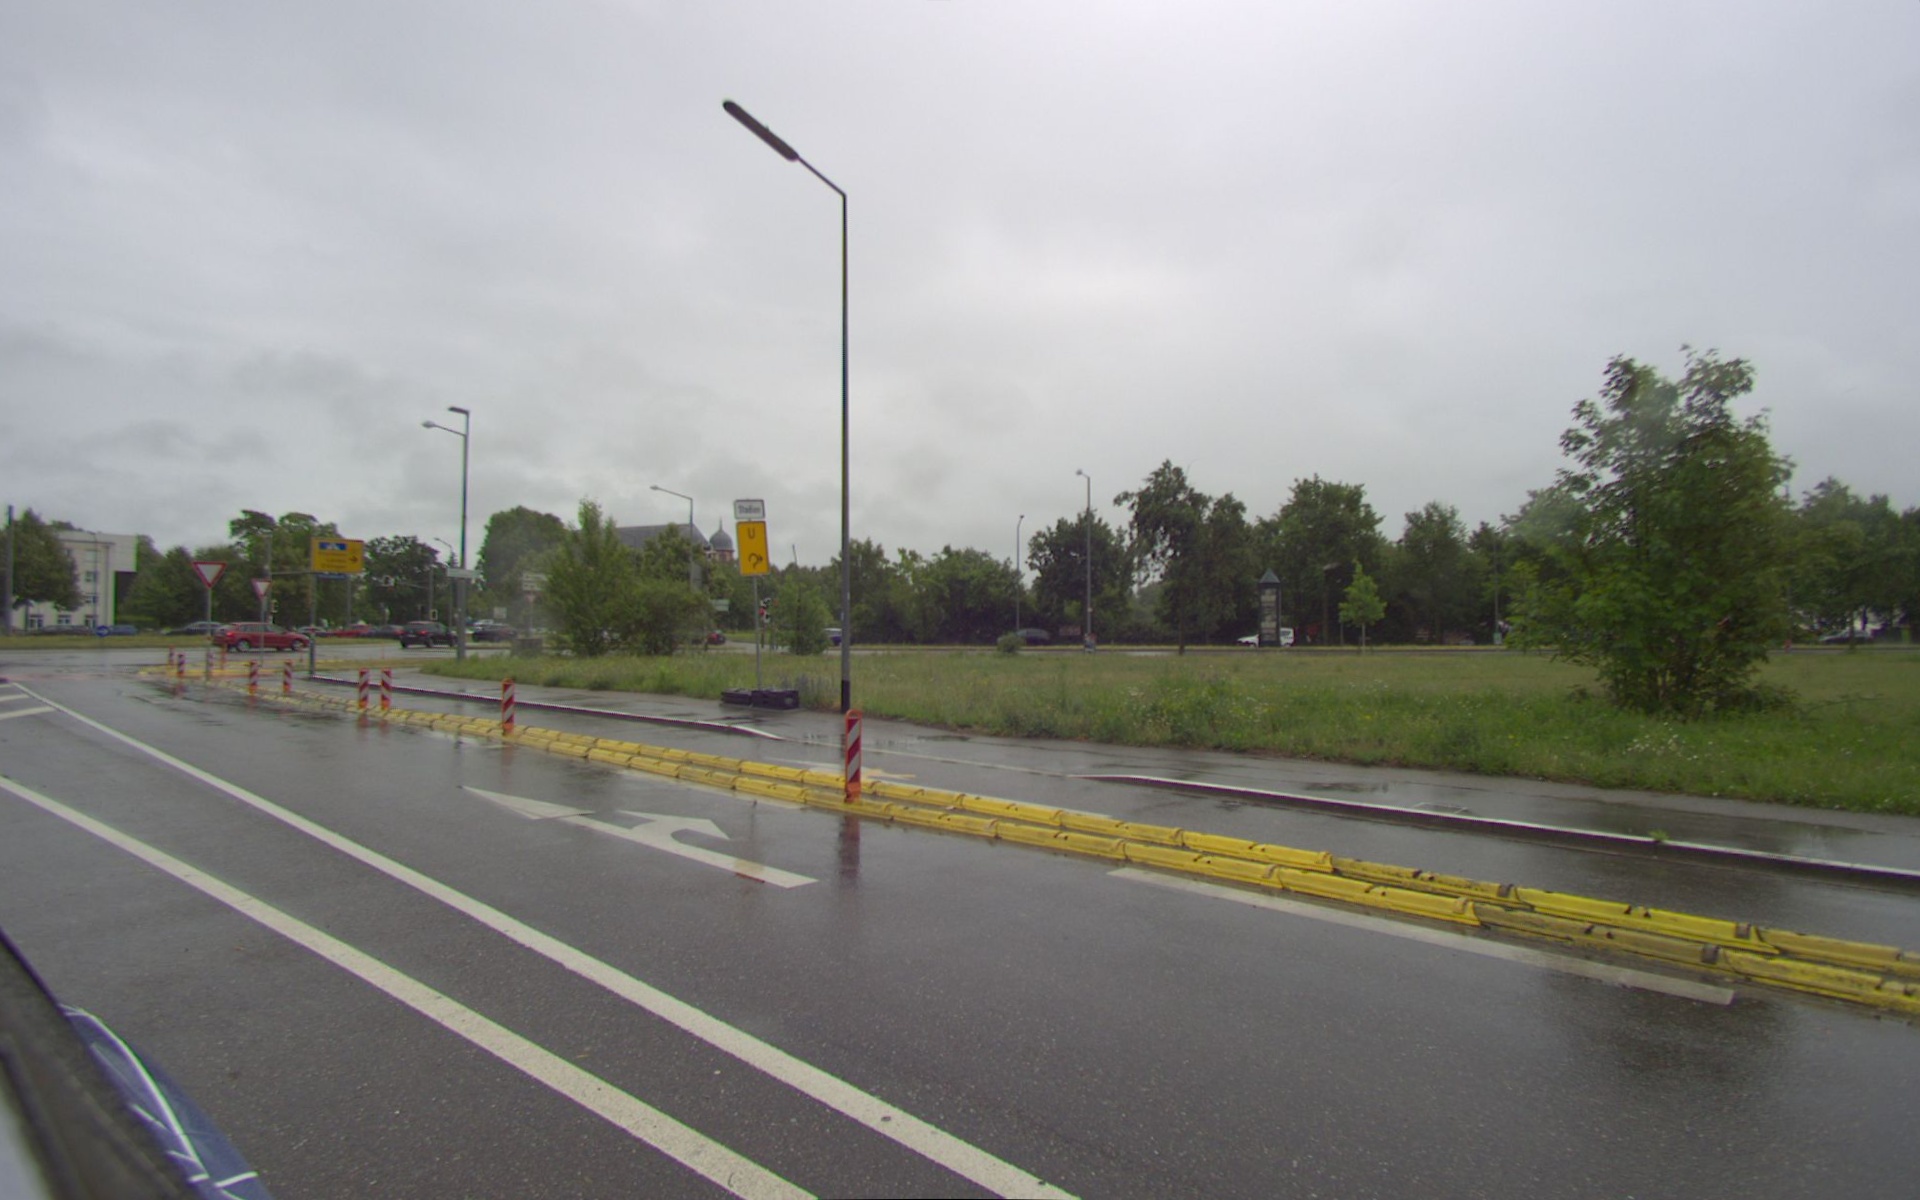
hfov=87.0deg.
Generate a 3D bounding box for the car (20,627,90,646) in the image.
[{"bbox_3d":[-72.168,2.885,80.779,3.934,1.461,1.851,1,-2,-37],"label":"car"}]

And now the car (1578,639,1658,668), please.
[{"bbox_3d":[42.162,3.404,64.872,3.941,1.660,1.790,2,0,-3],"label":"car"}]

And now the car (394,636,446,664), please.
[{"bbox_3d":[-32.986,3.036,61.937,1.759,1.529,4.343,0,-1,-13],"label":"car"}]

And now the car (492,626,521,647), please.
[{"bbox_3d":[-40.623,3.256,90.628,1.759,1.660,4.401,2,0,-32],"label":"car"}]

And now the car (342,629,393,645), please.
[{"bbox_3d":[-55.480,3.448,94.716,3.934,1.461,1.851,1,-2,-37],"label":"car"}]

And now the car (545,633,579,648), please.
[{"bbox_3d":[-39.429,4.034,100.266,3.031,1.351,1.326,2,0,-23],"label":"car"}]

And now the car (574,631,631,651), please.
[{"bbox_3d":[-29.191,3.324,82.619,4.210,1.386,1.624,2,0,15],"label":"car"}]

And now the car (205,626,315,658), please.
[{"bbox_3d":[-35.539,2.090,51.468,1.782,1.470,4.271,0,0,30],"label":"car"}]

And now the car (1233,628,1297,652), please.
[{"bbox_3d":[23.255,3.058,77.289,4.276,1.660,1.791,2,0,-4],"label":"car"}]
